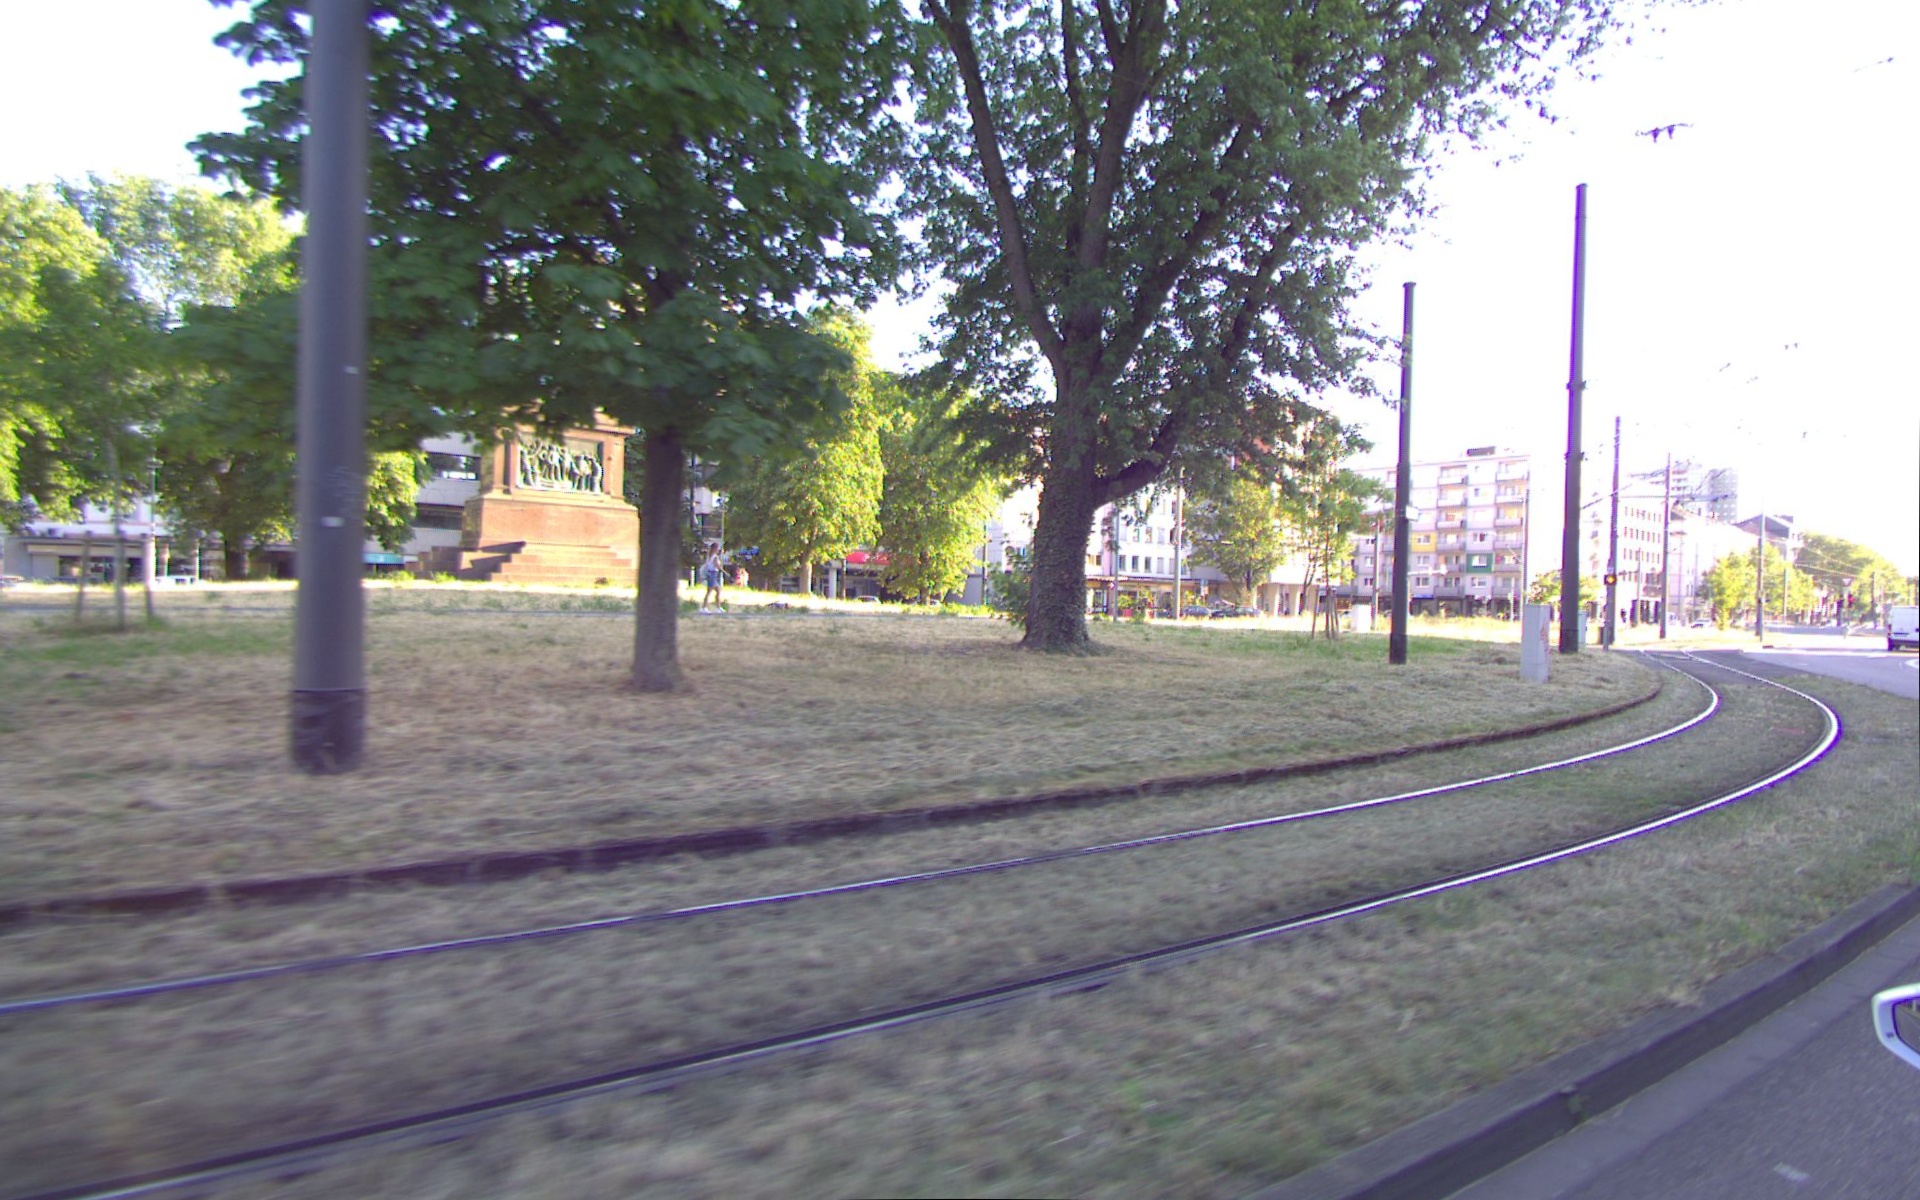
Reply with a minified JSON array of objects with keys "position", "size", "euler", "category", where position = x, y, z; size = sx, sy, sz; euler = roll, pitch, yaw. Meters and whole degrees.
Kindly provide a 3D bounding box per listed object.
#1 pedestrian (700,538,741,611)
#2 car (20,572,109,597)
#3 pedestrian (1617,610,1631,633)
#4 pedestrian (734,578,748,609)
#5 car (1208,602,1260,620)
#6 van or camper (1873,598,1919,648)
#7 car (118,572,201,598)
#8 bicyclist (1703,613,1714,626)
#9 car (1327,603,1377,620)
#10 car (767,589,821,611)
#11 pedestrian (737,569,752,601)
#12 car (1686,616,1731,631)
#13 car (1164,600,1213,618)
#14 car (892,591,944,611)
[{"position":[-5.760,-0.595,24.150],"size":[0.468,1.712,0.833],"euler":[1,0,35],"category":"pedestrian"},{"position":[-58.639,-1.029,65.826],"size":[3.932,1.601,1.792],"euler":[0,1,-14],"category":"car"},{"position":[53.661,1.728,81.202],"size":[0.640,1.786,0.719],"euler":[0,1,-19],"category":"pedestrian"},{"position":[-10.914,-0.301,50.032],"size":[0.548,1.532,0.449],"euler":[0,1,-39],"category":"pedestrian"},{"position":[24.658,1.000,90.317],"size":[4.223,1.547,1.753],"euler":[0,1,-18],"category":"car"},{"position":[53.001,1.253,56.181],"size":[4.465,2.660,2.244],"euler":[0,1,-40],"category":"van or camper"},{"position":[-53.549,-0.979,67.293],"size":[3.936,1.686,1.753],"euler":[0,1,-18],"category":"car"},{"position":[87.885,2.284,117.887],"size":[0.840,1.462,0.662],"euler":[3,3,26],"category":"bicyclist"},{"position":[34.757,1.018,89.078],"size":[3.934,1.409,1.705],"euler":[0,1,-16],"category":"car"},{"position":[-12.606,-0.016,76.172],"size":[3.932,1.601,1.792],"euler":[0,1,-14],"category":"car"},{"position":[-10.911,-0.744,50.865],"size":[0.548,1.602,0.613],"euler":[0,1,-38],"category":"pedestrian"},{"position":[89.005,2.786,119.498],"size":[3.923,1.453,1.717],"euler":[2,2,24],"category":"car"},{"position":[20.320,0.769,89.350],"size":[3.936,1.547,1.753],"euler":[0,1,-18],"category":"car"},{"position":[-3.401,0.071,81.696],"size":[3.932,1.573,1.754],"euler":[0,1,-15],"category":"car"}]
